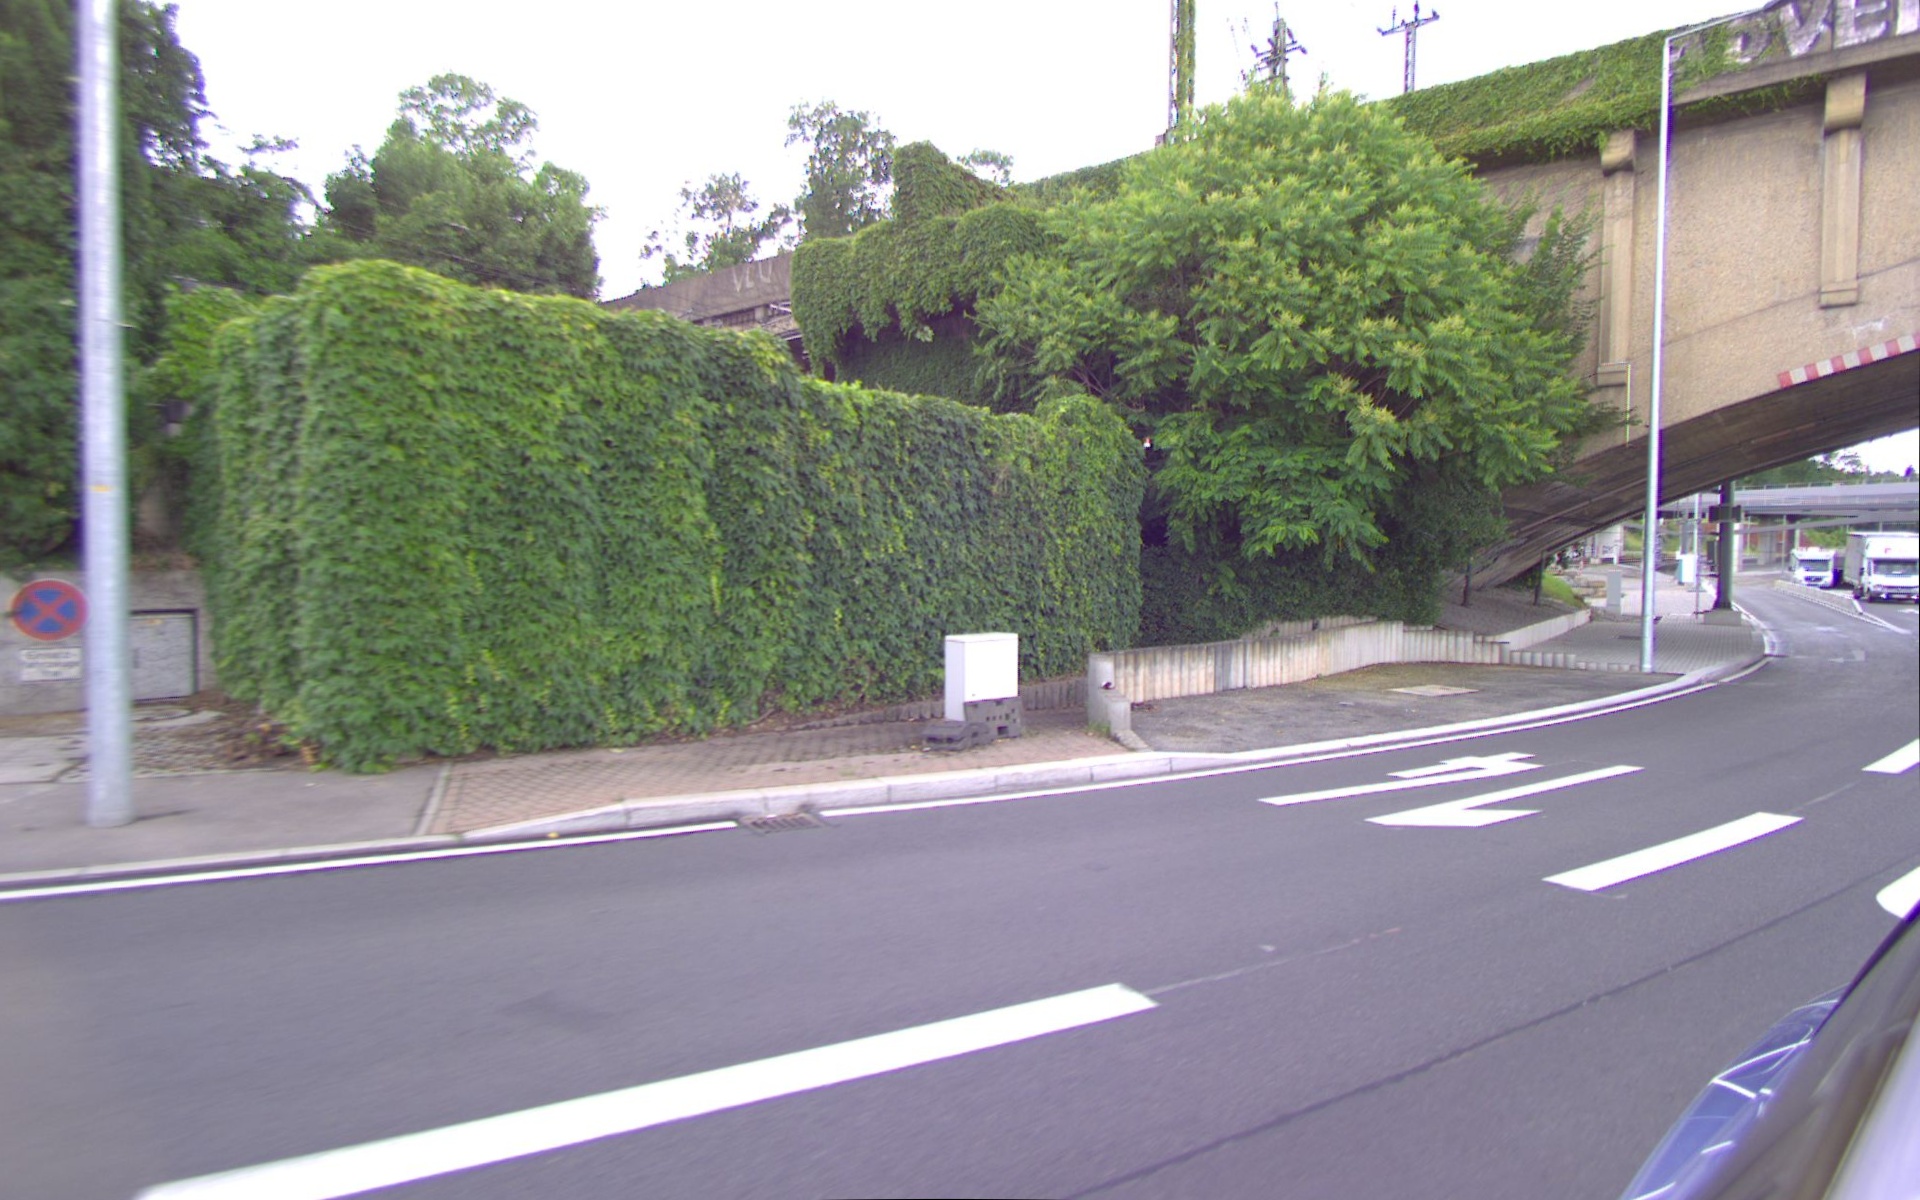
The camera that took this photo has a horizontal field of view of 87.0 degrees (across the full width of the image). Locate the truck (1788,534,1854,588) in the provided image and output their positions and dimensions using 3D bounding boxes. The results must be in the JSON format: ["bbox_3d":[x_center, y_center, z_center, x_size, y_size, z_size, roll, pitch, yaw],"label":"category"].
[{"bbox_3d":[61.770,-2.747,72.795,2.558,3.613,9.005,-1,1,34],"label":"truck"}]

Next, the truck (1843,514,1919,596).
[{"bbox_3d":[45.706,-2.092,49.078,3.012,3.633,8.843,-3,-1,33],"label":"truck"}]
